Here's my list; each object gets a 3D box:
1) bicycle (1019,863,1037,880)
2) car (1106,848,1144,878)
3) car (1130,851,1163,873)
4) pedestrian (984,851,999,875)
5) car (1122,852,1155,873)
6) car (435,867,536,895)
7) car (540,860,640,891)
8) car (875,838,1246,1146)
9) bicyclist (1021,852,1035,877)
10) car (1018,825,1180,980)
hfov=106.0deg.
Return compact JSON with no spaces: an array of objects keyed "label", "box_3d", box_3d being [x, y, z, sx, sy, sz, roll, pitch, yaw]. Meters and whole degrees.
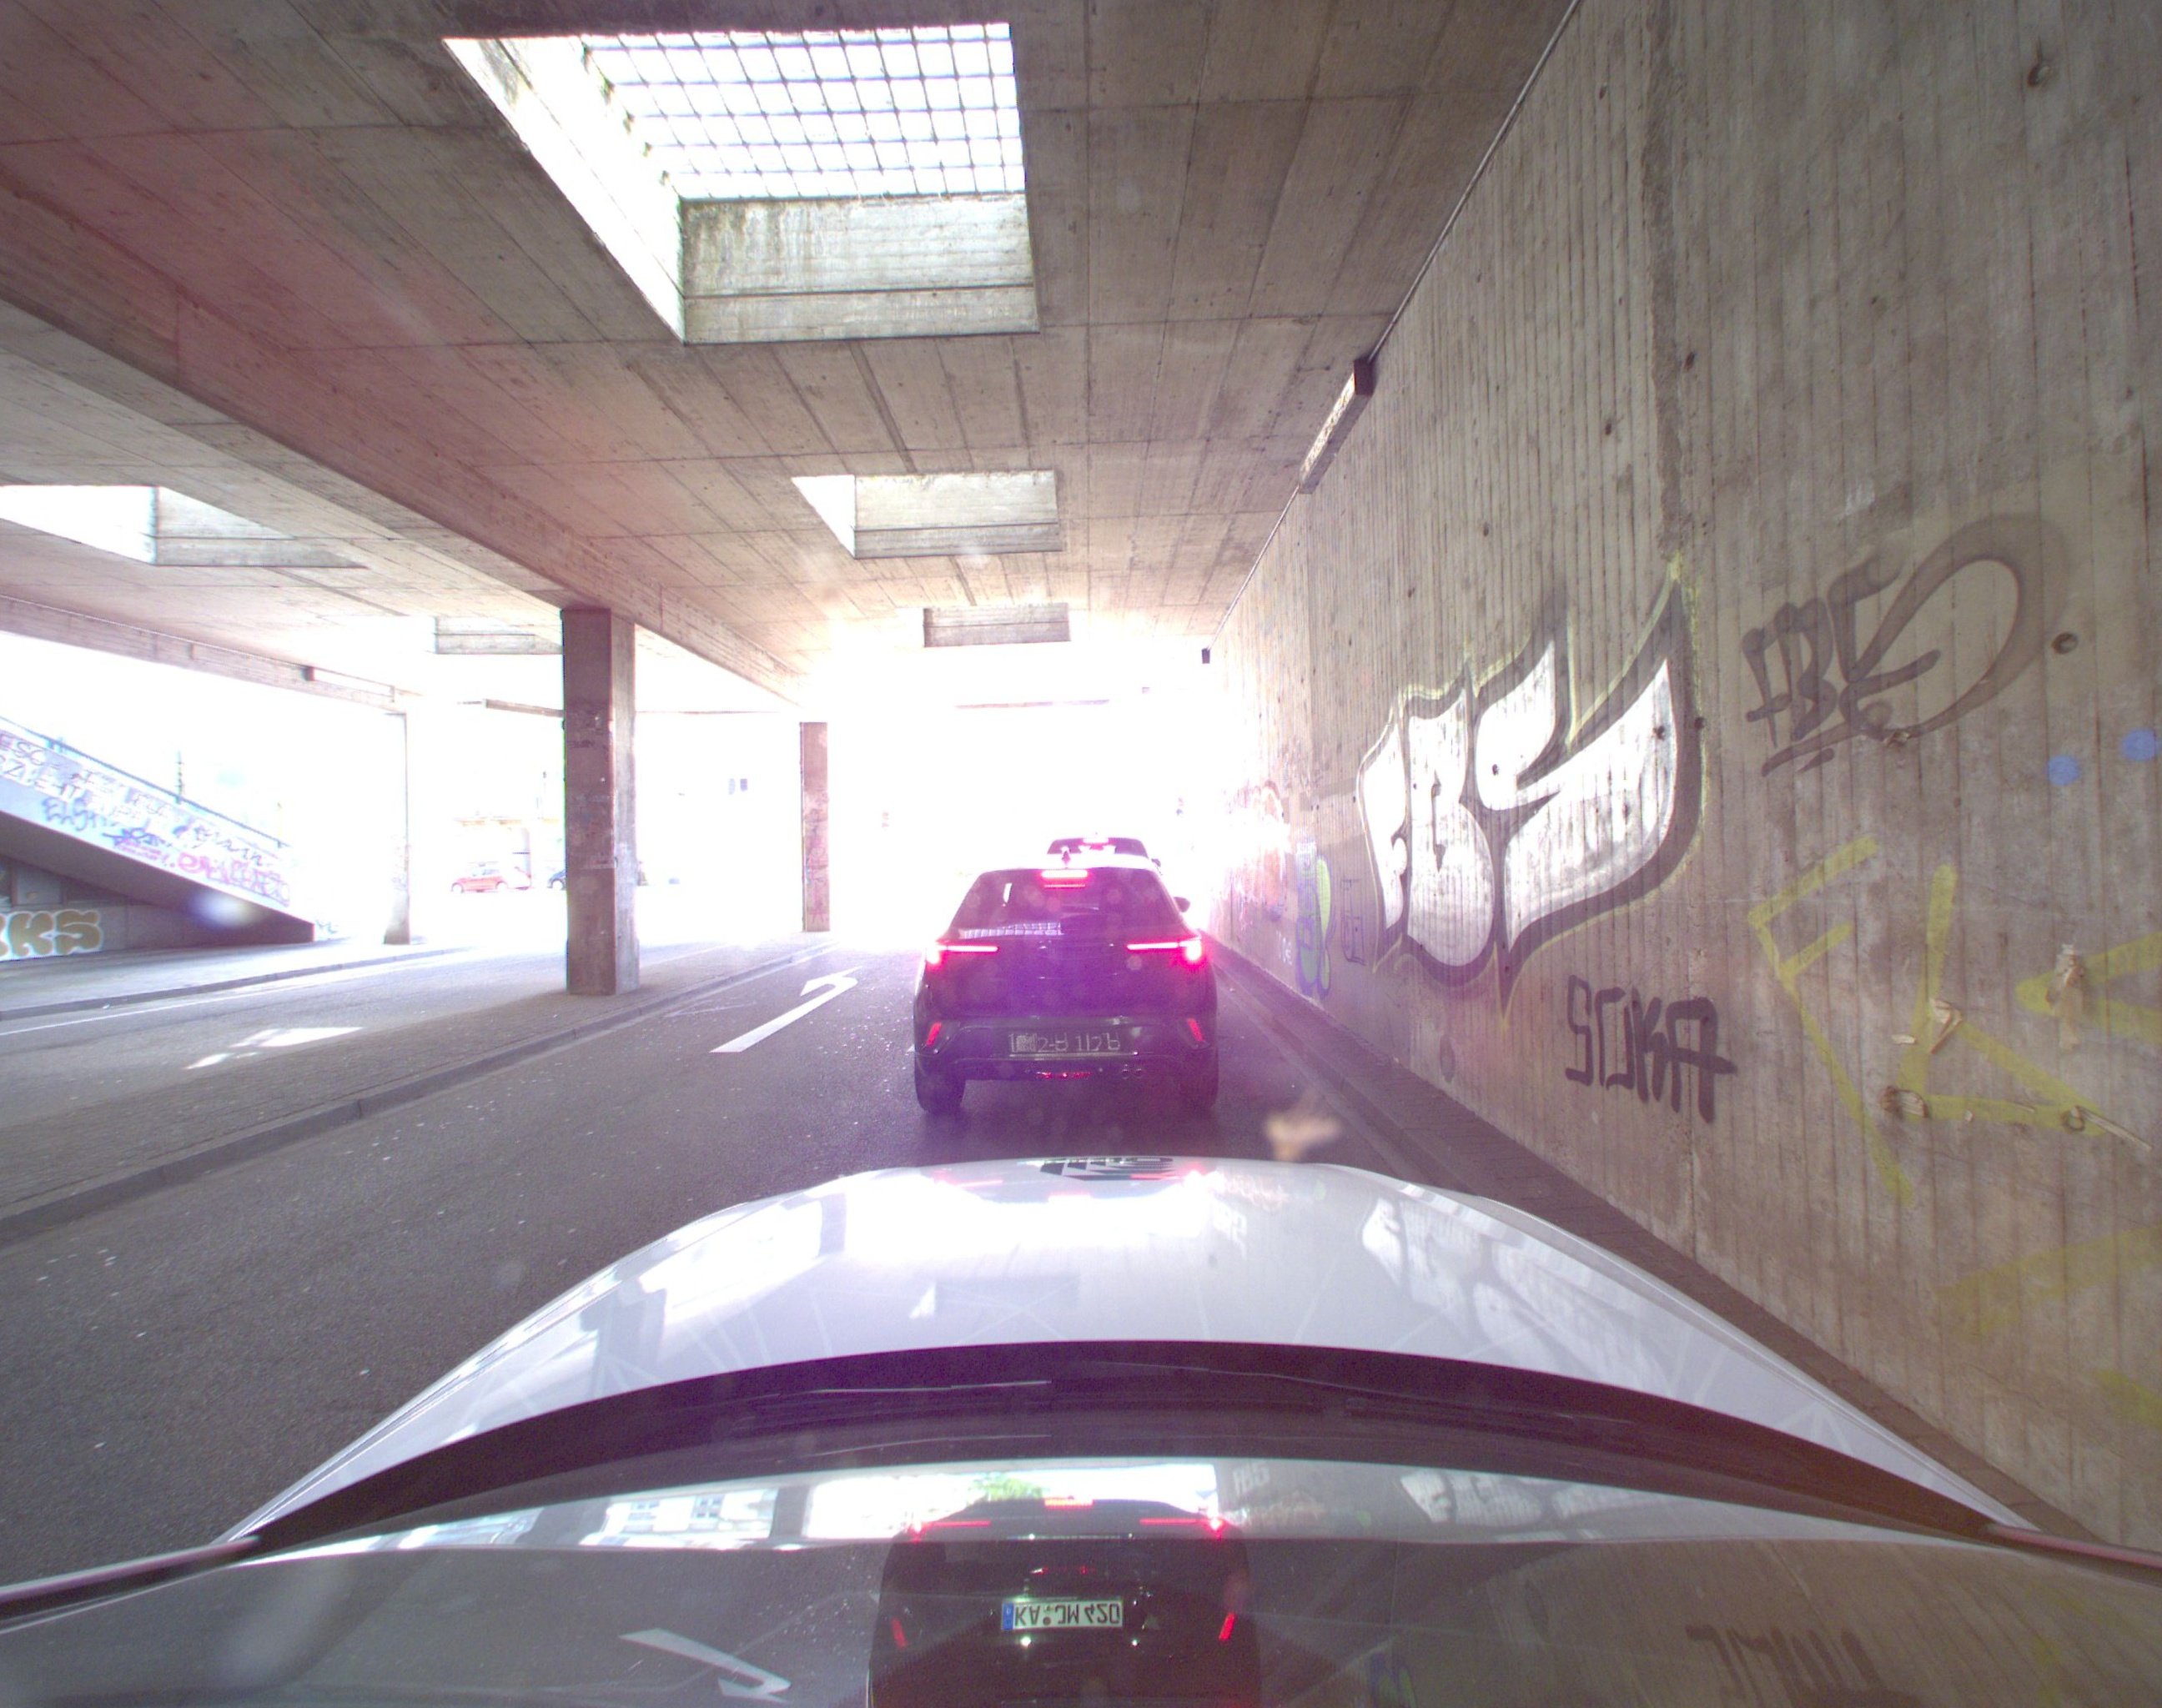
[{"label":"bicycle","box_3d":[-3.380,1.107,51.745,0.727,1.067,1.694,-1,-1,11]},{"label":"car","box_3d":[2.416,0.503,44.267,1.959,1.497,3.900,-2,-2,4]},{"label":"car","box_3d":[5.600,0.688,69.037,2.206,1.719,4.474,-2,-2,12]},{"label":"pedestrian","box_3d":[-7.696,0.799,69.866,0.986,2.013,1.091,-2,0,10]},{"label":"car","box_3d":[4.416,0.643,62.252,1.955,1.497,3.908,-2,-2,11]},{"label":"car","box_3d":[-33.004,1.478,45.246,3.970,1.374,2.192,-2,0,3]},{"label":"car","box_3d":[-27.200,1.187,45.245,4.114,1.550,2.268,-2,0,1]},{"label":"car","box_3d":[-0.047,0.712,6.189,1.875,1.538,3.966,-2,0,2]},{"label":"bicyclist","box_3d":[-3.370,0.649,51.780,0.724,1.581,0.817,-1,-1,11]},{"label":"car","box_3d":[0.287,0.595,12.009,1.938,1.860,3.966,-2,0,2]}]
